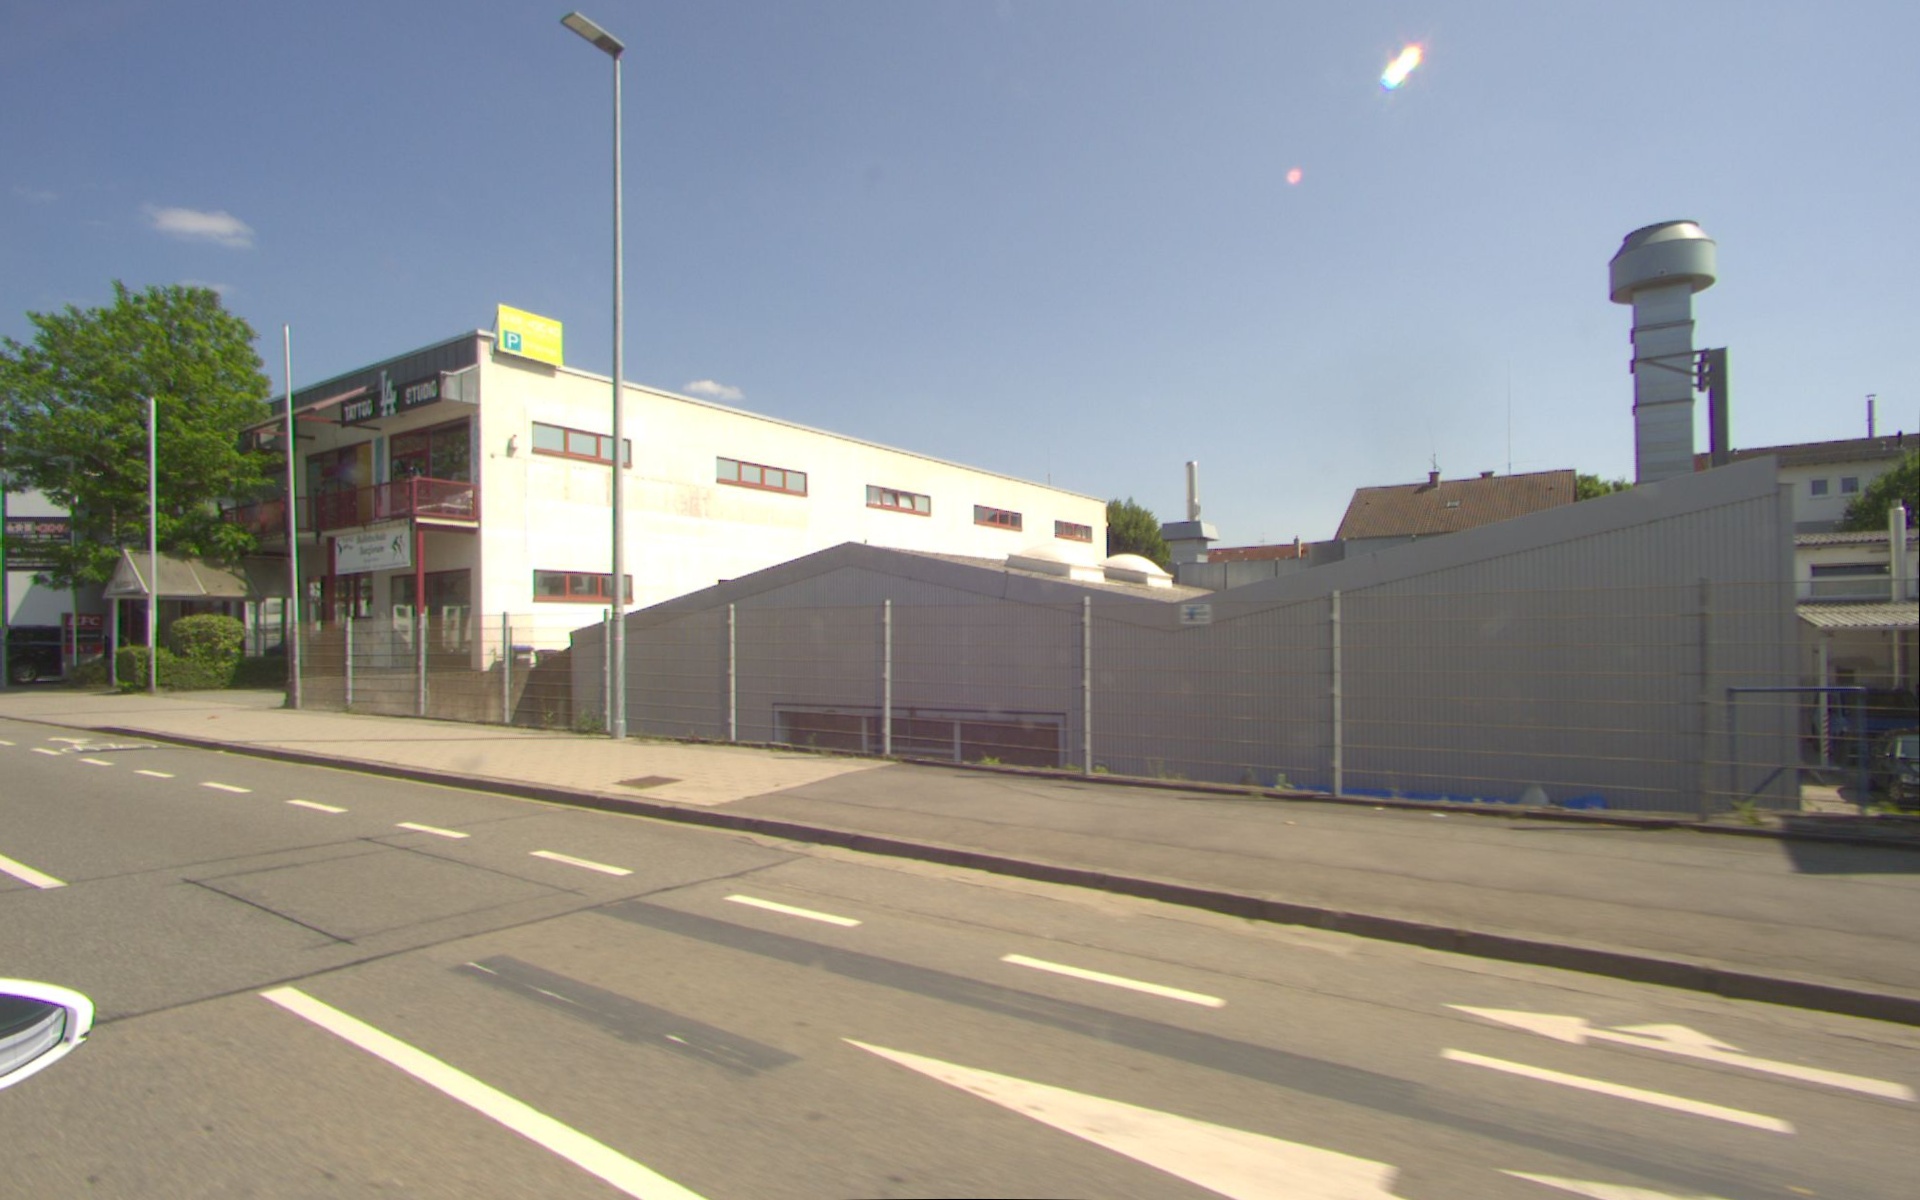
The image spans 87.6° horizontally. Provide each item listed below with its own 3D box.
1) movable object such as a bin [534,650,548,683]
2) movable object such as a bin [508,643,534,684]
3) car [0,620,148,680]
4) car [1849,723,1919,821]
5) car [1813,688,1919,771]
[{"bbox_3d":[-11.170,1.762,26.694,0.271,0.865,0.266,-1,0,36],"label":"movable object such as a bin"},{"bbox_3d":[-11.428,1.647,26.052,0.538,1.025,0.411,-1,0,36],"label":"movable object such as a bin"},{"bbox_3d":[-28.573,1.546,31.874,1.977,1.798,3.969,-1,-1,40],"label":"car"},{"bbox_3d":[20.073,3.487,20.667,1.819,1.535,3.981,-3,-2,31],"label":"car"},{"bbox_3d":[23.729,3.268,25.915,1.889,1.879,3.982,-2,-4,32],"label":"car"}]
